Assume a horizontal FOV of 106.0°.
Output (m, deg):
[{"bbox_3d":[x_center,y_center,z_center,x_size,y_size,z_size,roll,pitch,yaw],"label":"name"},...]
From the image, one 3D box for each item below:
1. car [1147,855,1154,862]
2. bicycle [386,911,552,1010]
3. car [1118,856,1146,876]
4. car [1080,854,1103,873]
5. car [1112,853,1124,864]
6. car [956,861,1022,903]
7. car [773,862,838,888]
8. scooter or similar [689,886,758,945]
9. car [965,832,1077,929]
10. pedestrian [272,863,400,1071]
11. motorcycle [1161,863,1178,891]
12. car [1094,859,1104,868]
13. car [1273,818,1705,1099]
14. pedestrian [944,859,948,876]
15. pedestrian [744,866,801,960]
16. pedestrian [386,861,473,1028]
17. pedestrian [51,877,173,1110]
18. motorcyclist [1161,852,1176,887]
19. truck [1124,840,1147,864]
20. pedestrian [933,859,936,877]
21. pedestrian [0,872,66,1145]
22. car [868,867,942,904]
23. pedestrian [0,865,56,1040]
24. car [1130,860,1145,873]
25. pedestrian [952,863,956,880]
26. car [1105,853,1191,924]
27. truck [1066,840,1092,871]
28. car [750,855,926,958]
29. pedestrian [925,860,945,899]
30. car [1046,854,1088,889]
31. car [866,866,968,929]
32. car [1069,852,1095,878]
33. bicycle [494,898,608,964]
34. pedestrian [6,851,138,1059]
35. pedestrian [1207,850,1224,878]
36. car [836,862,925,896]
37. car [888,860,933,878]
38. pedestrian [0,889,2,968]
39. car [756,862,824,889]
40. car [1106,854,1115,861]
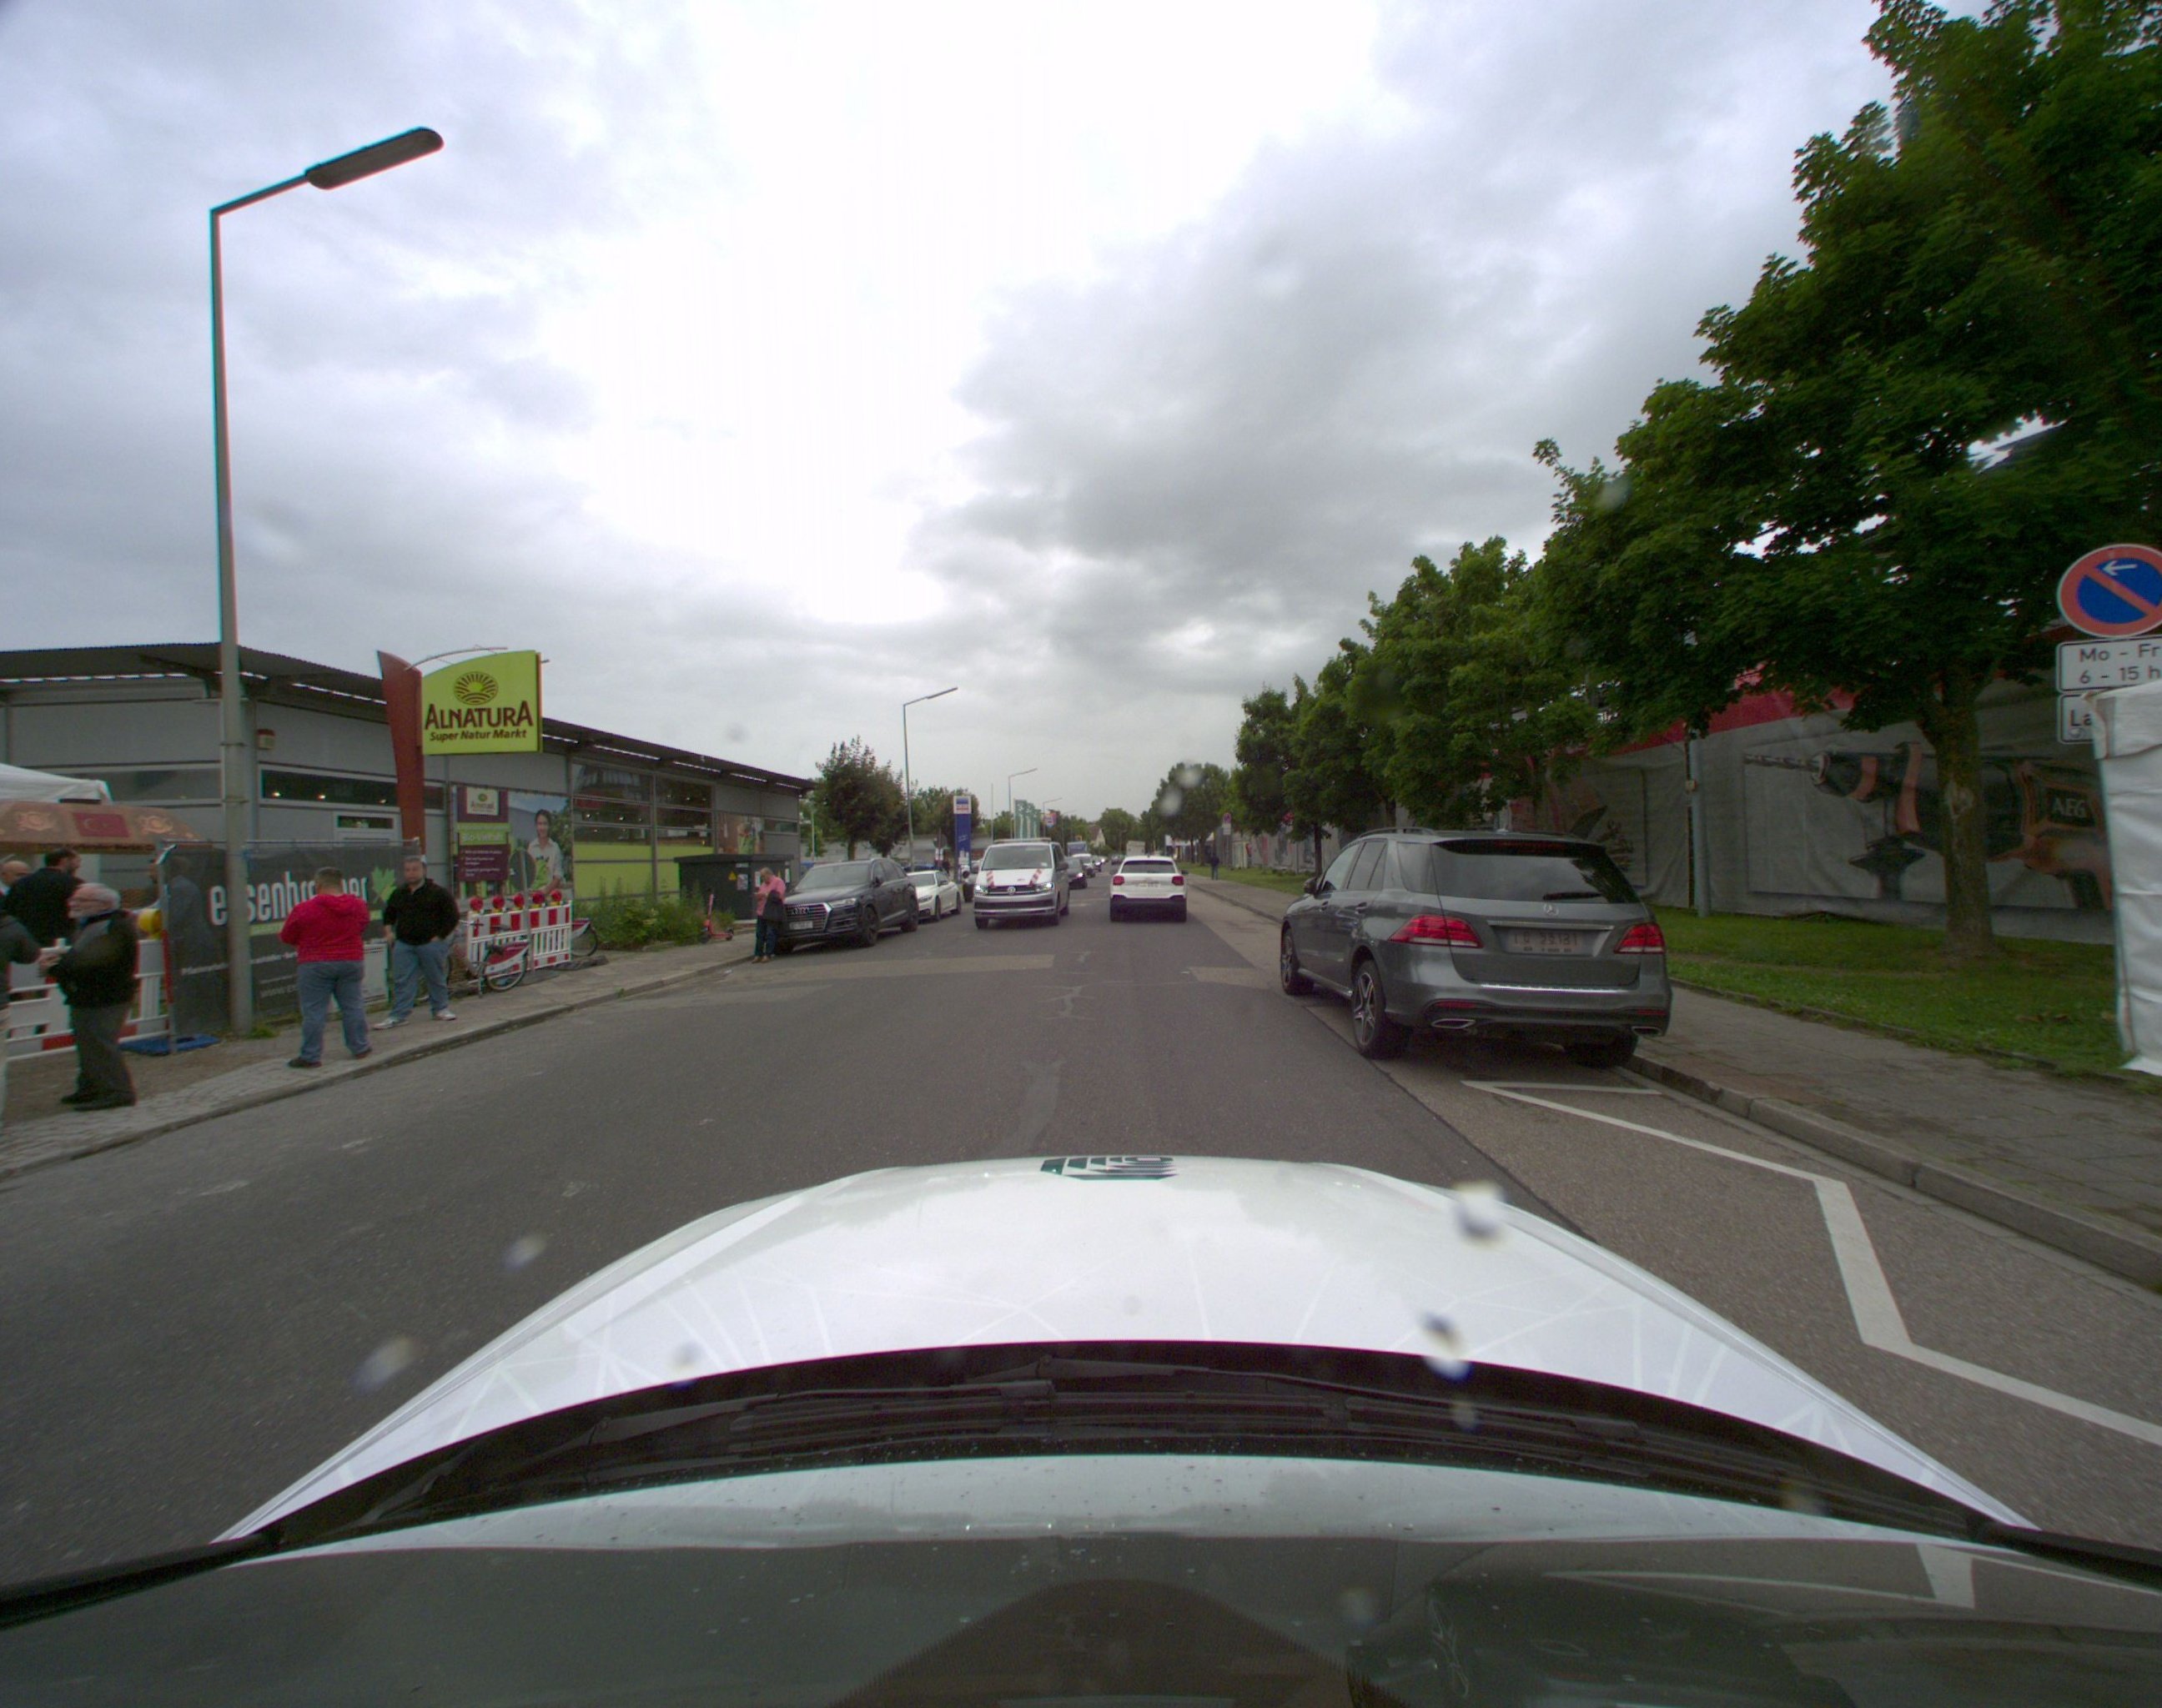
[{"bbox_3d":[18.748,1.181,220.710,1.878,1.683,4.258,0,0,3],"label":"car"},{"bbox_3d":[-7.989,1.355,10.746,0.541,1.077,1.905,-1,-1,9],"label":"bicycle"},{"bbox_3d":[3.849,0.894,61.728,1.930,1.367,4.002,-2,0,2],"label":"car"},{"bbox_3d":[1.050,0.890,79.910,1.924,1.684,4.501,-3,0,5],"label":"car"},{"bbox_3d":[6.051,0.737,134.128,1.863,1.662,4.001,-2,0,1],"label":"car"},{"bbox_3d":[-3.710,1.089,33.641,1.938,1.526,4.406,-2,0,3],"label":"car"},{"bbox_3d":[-19.959,1.501,59.087,3.971,1.669,1.877,-2,0,2],"label":"car"},{"bbox_3d":[-7.885,1.325,18.021,0.658,1.157,1.644,-2,0,5],"label":"scooter or similar"},{"bbox_3d":[-1.293,0.607,19.912,1.918,2.014,4.961,-2,-1,5],"label":"car"},{"bbox_3d":[-6.731,0.977,7.379,0.405,1.755,0.725,-2,0,28],"label":"pedestrian"},{"bbox_3d":[3.941,1.016,36.378,0.638,1.178,2.116,-2,0,5],"label":"motorcycle"},{"bbox_3d":[3.373,1.782,149.910,1.592,1.528,3.531,-3,-1,3],"label":"car"},{"bbox_3d":[3.129,0.665,7.446,1.900,1.741,4.484,1,0,3],"label":"car"},{"bbox_3d":[-12.813,1.294,77.293,0.359,1.570,0.502,-2,0,-11],"label":"pedestrian"},{"bbox_3d":[-5.533,1.041,14.631,0.670,1.621,0.654,-3,-1,3],"label":"pedestrian"},{"bbox_3d":[-7.199,0.951,8.998,0.691,1.717,0.688,0,2,-44],"label":"pedestrian"},{"bbox_3d":[-7.215,0.992,6.088,0.493,1.611,0.564,-1,-1,-42],"label":"pedestrian"},{"bbox_3d":[3.964,0.675,36.858,0.622,1.554,0.605,-2,-1,4],"label":"motorcyclist"},{"bbox_3d":[8.380,-0.238,126.065,3.123,3.585,10.052,0,-1,1],"label":"truck"},{"bbox_3d":[-14.071,1.305,78.223,0.262,1.730,0.421,-2,-1,-10],"label":"pedestrian"},{"bbox_3d":[-7.232,1.008,5.306,0.484,1.749,0.696,-2,-1,32],"label":"pedestrian"},{"bbox_3d":[-10.258,1.805,47.703,3.922,2.014,1.758,-2,0,-5],"label":"car"},{"bbox_3d":[-10.353,0.939,7.858,0.417,1.636,0.475,-2,0,27],"label":"pedestrian"},{"bbox_3d":[8.079,1.789,116.723,1.986,1.806,4.001,0,-1,1],"label":"car"},{"bbox_3d":[-12.125,1.682,77.951,0.330,1.570,0.502,-2,-1,-11],"label":"pedestrian"},{"bbox_3d":[1.608,0.760,20.150,1.878,1.532,4.258,1,0,3],"label":"car"},{"bbox_3d":[-0.203,0.197,112.403,2.961,3.956,6.410,-3,0,3],"label":"truck"},{"bbox_3d":[-4.811,0.953,16.967,1.857,1.691,4.733,-5,0,4],"label":"car"},{"bbox_3d":[-6.618,1.157,37.049,0.773,1.715,0.696,-1,-1,-2],"label":"pedestrian"},{"bbox_3d":[-0.645,0.843,40.188,1.722,1.571,3.949,-3,0,3],"label":"car"},{"bbox_3d":[-4.503,1.152,23.095,1.692,1.367,4.520,-6,0,2],"label":"car"},{"bbox_3d":[0.086,0.786,61.113,1.683,1.761,4.137,-3,0,2],"label":"car"},{"bbox_3d":[-9.158,1.325,14.097,1.654,1.046,0.392,2,0,0],"label":"bicycle"},{"bbox_3d":[-9.518,0.918,7.699,0.636,1.865,0.388,-2,0,-21],"label":"pedestrian"},{"bbox_3d":[7.961,0.583,48.106,0.915,1.635,0.853,0,-1,4],"label":"pedestrian"},{"bbox_3d":[-9.900,1.217,40.375,3.858,1.620,1.929,0,0,2],"label":"car"},{"bbox_3d":[-16.809,1.458,80.303,3.971,1.669,1.877,-2,0,2],"label":"car"},{"bbox_3d":[-8.436,1.072,5.907,0.542,1.612,0.487,0,-1,-26],"label":"pedestrian"},{"bbox_3d":[-20.140,1.471,56.527,3.971,1.669,1.877,-2,0,2],"label":"car"},{"bbox_3d":[7.123,0.744,197.673,1.770,1.655,3.744,0,-1,-3],"label":"car"}]
